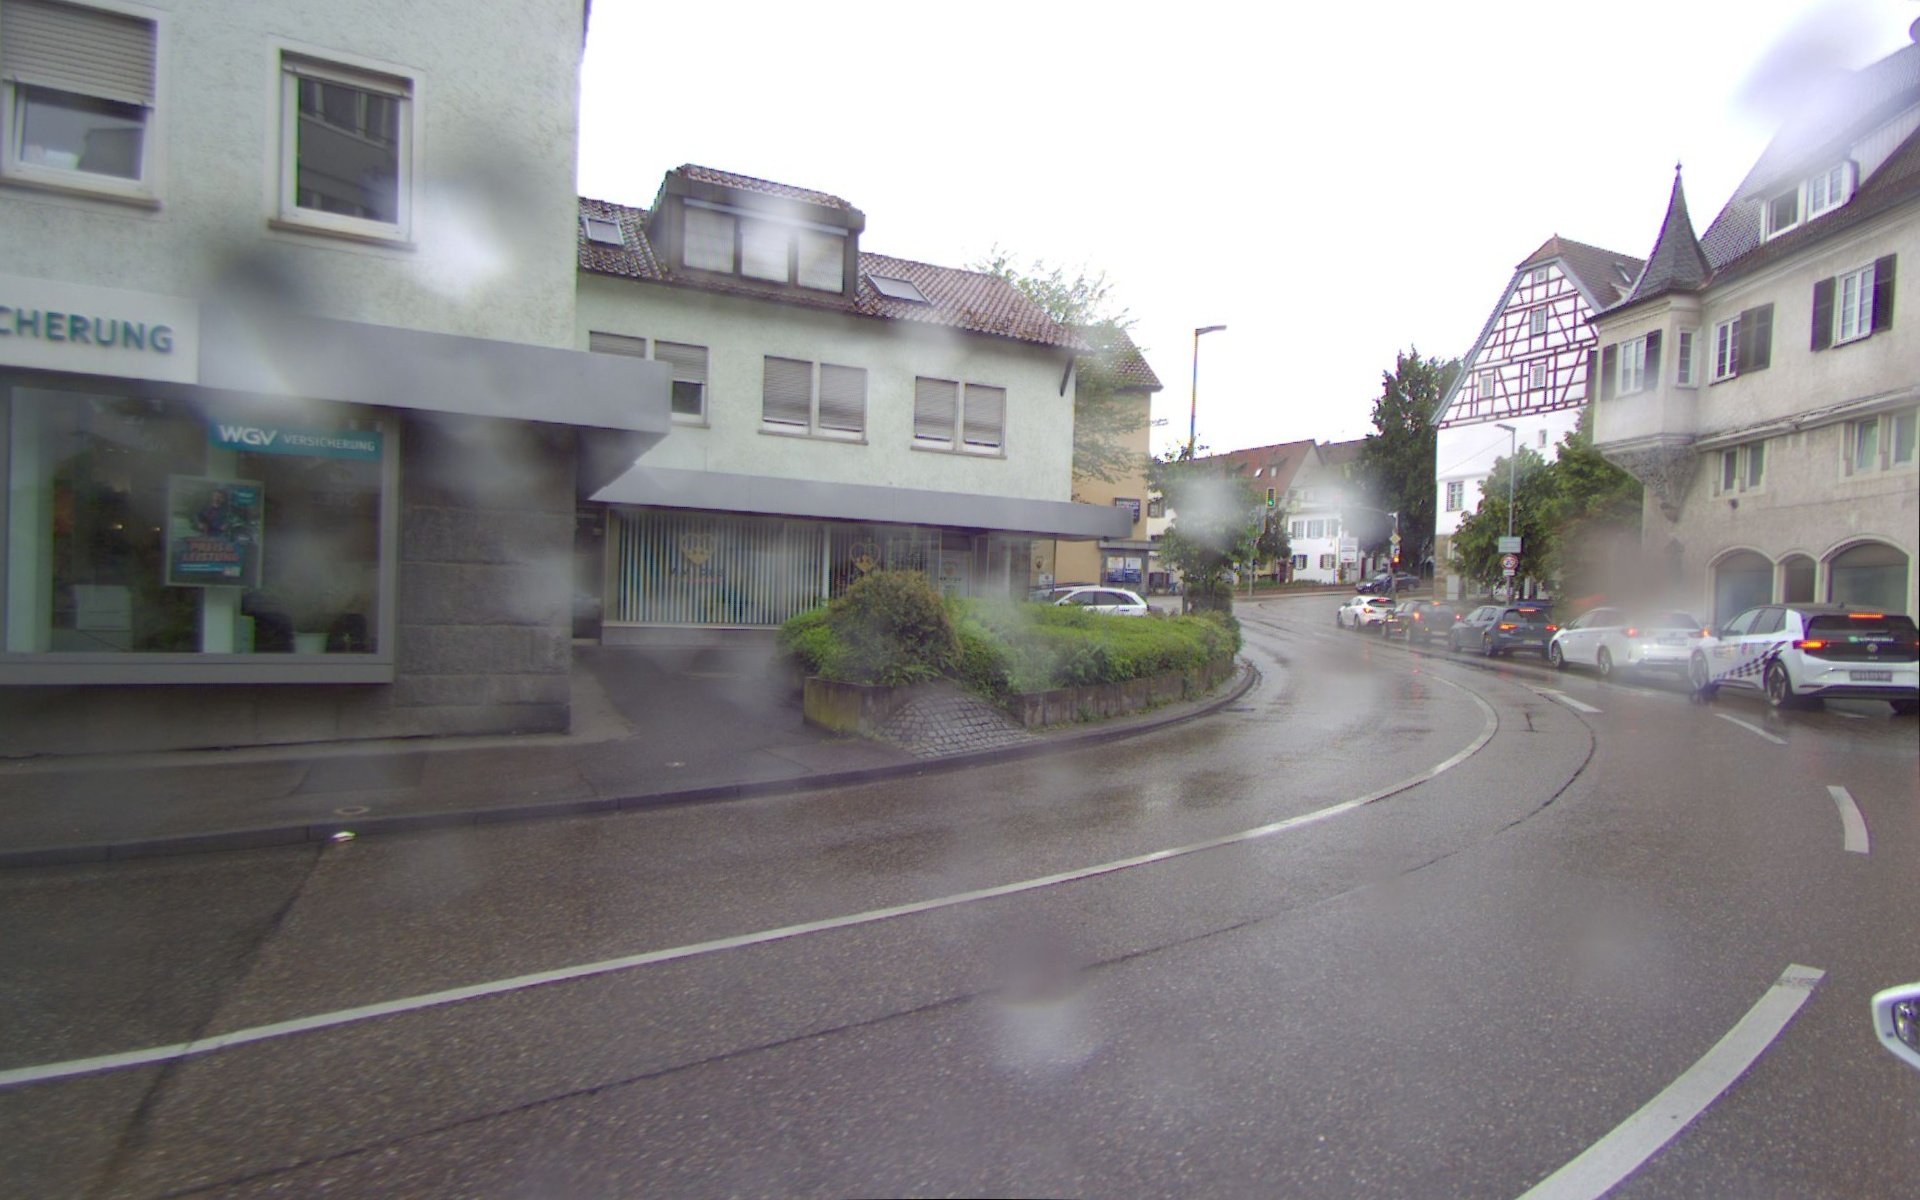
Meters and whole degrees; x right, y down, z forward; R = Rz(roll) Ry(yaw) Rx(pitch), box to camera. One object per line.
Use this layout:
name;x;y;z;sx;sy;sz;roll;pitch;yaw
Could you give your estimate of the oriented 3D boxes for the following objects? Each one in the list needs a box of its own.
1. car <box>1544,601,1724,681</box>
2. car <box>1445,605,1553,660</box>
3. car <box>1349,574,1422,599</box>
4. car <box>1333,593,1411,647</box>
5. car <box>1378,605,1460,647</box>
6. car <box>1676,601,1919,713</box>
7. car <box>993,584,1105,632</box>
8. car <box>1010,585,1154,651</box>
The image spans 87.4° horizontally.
car;14.466;0.814;21.869;1.755;1.485;4.166;0;1;11
car;15.484;0.883;29.042;1.492;1.380;3.769;0;1;7
car;29.499;-0.957;69.607;4.452;1.409;1.646;1;7;-14
car;17.251;0.782;42.252;1.940;2.118;3.962;0;1;5
car;16.163;0.893;35.551;1.634;1.330;3.625;0;1;7
car;13.218;0.788;15.929;1.759;1.537;4.242;0;0;17
car;3.033;0.267;34.519;3.477;1.597;1.708;1;1;-14
car;3.246;0.466;27.009;3.477;1.708;1.708;1;1;-14
